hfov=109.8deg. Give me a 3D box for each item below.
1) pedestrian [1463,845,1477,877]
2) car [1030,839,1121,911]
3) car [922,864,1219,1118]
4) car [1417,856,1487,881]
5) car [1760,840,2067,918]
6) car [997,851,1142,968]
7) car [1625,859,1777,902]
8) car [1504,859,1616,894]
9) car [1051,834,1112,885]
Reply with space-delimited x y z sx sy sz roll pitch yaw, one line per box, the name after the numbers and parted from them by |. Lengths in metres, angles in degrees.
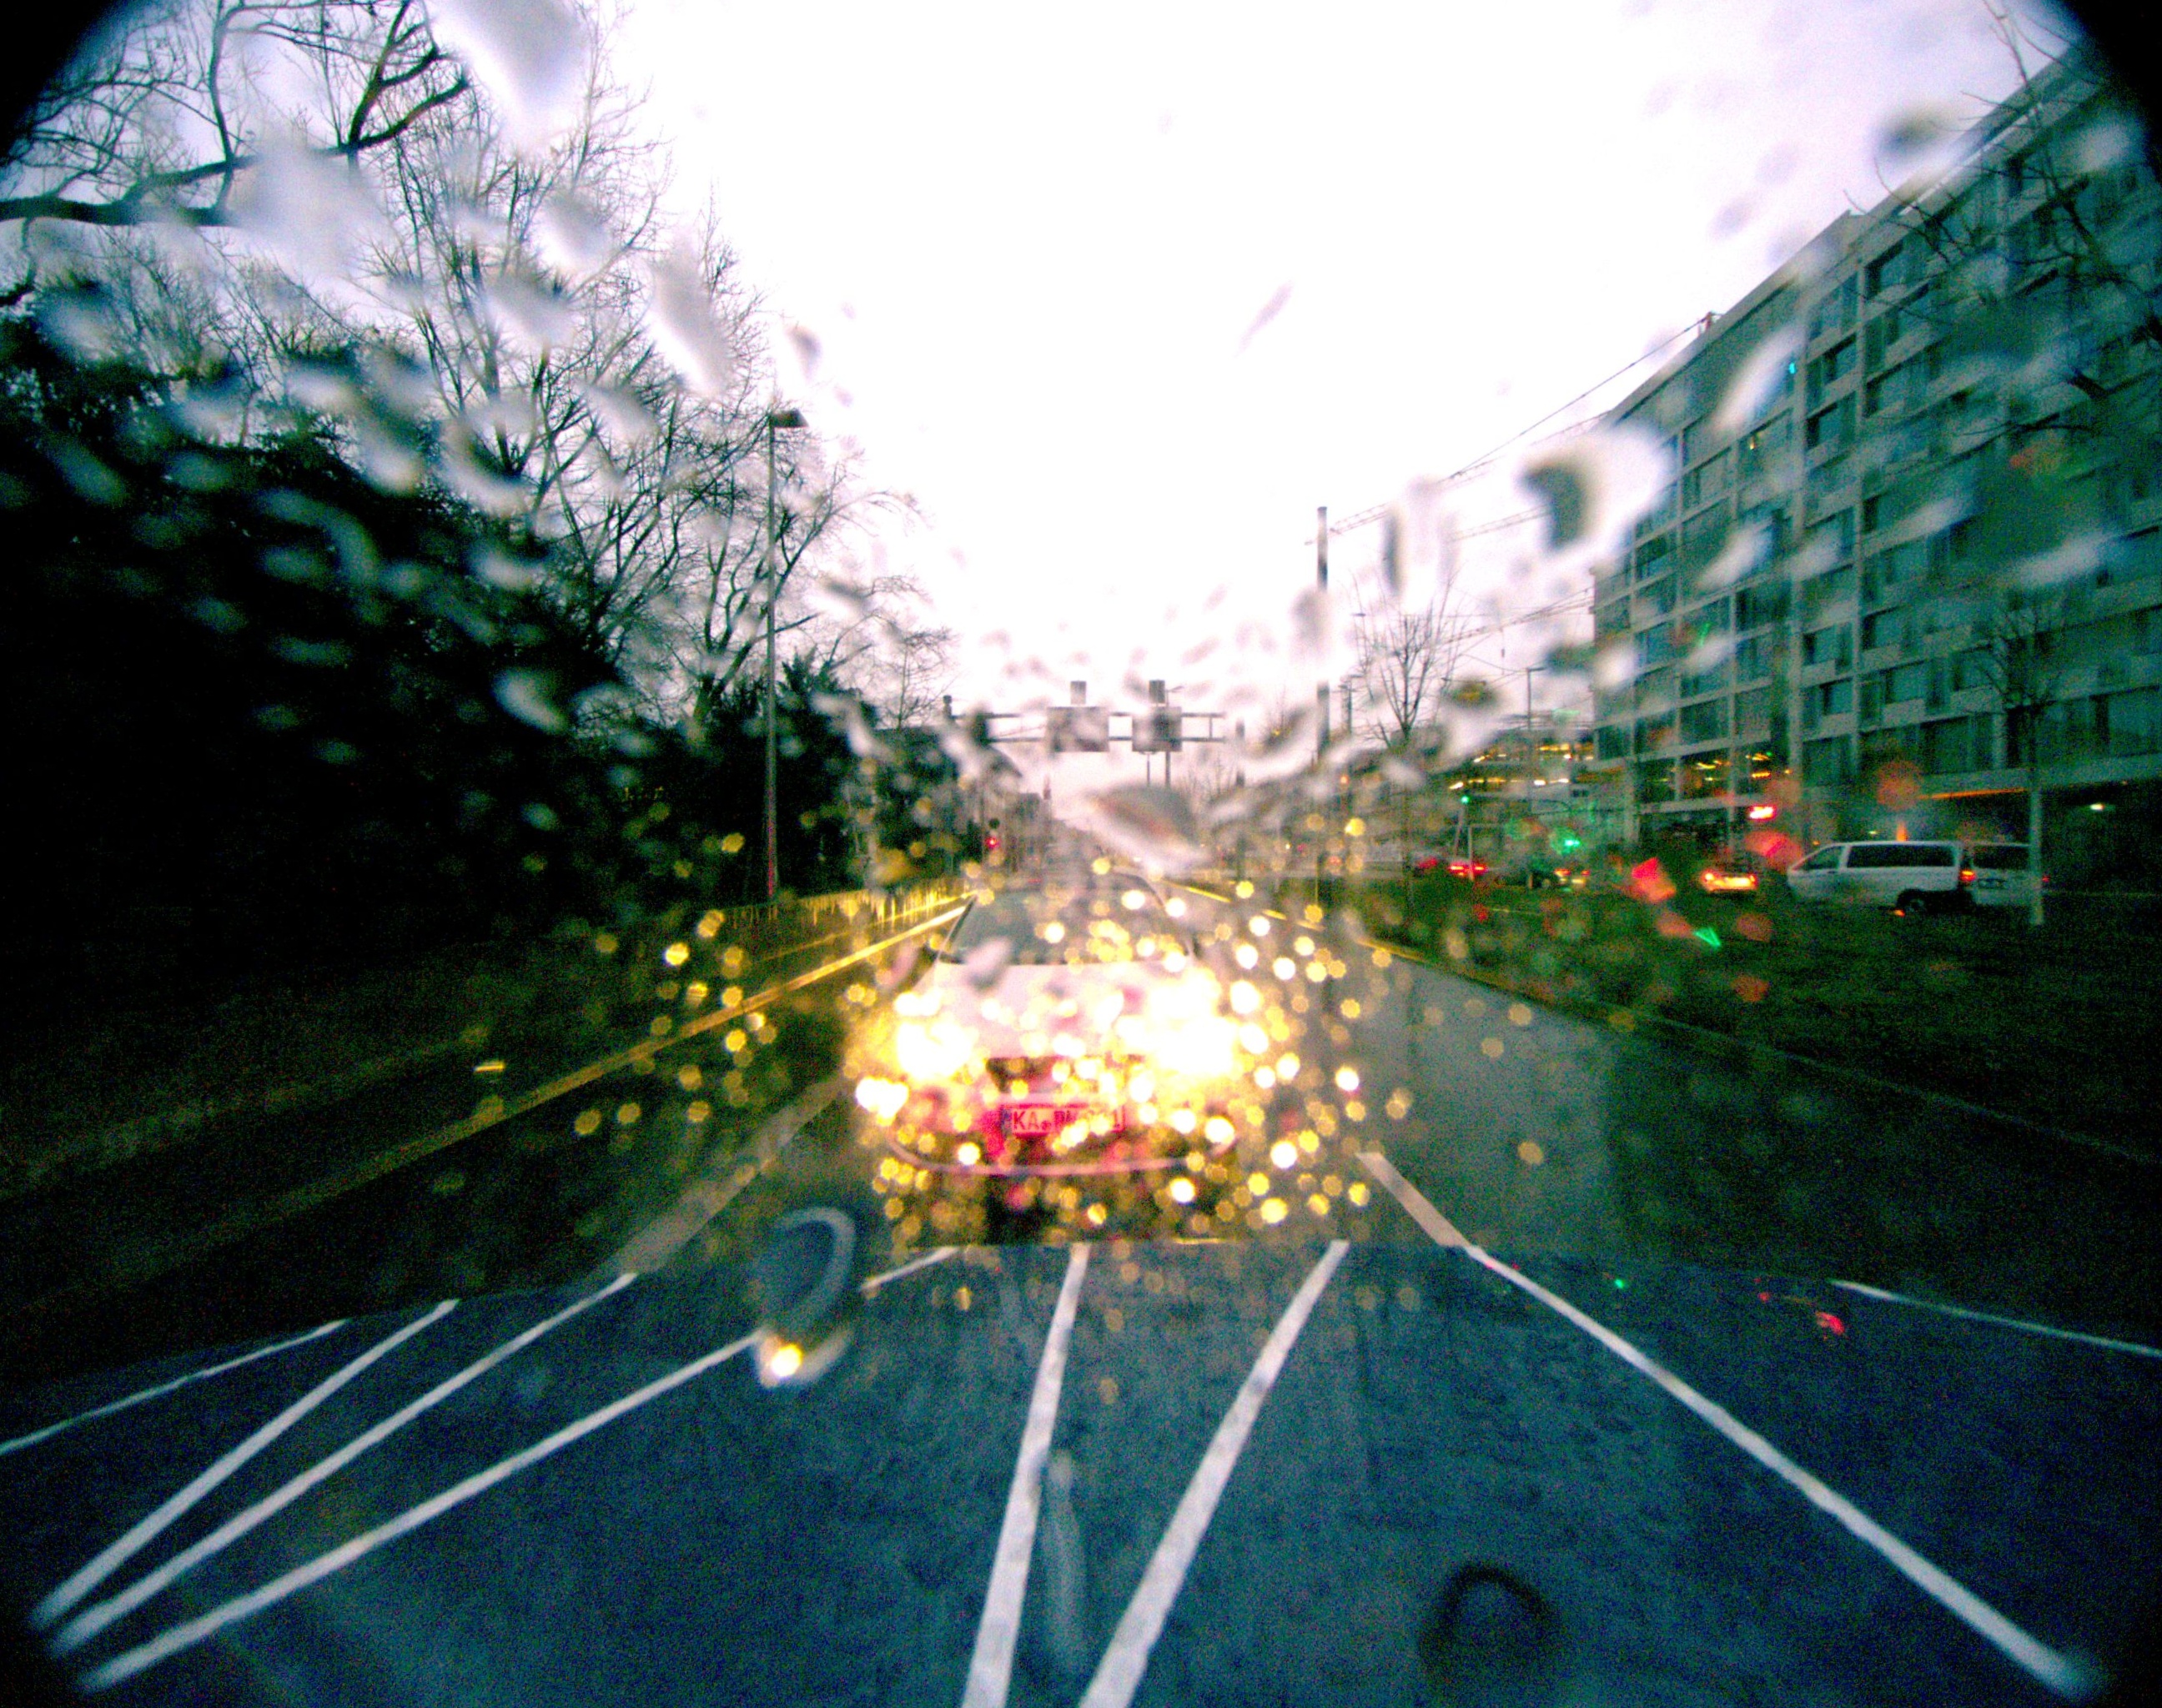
22.616 0.414 44.183 0.708 1.794 0.771 -2 1 26 | pedestrian
-0.101 0.481 20.051 2.073 1.618 4.268 -2 1 1 | car
-0.037 0.903 6.913 1.886 1.552 4.171 0 0 1 | car
20.173 0.758 41.494 1.816 1.267 3.999 0 0 -1 | car
20.015 0.534 18.741 2.086 1.659 5.043 0 0 1 | car
-0.215 0.805 13.270 2.073 1.618 4.267 -2 1 -1 | car
20.384 0.825 25.234 1.816 1.300 4.000 0 0 1 | car
20.314 0.912 32.479 2.111 1.392 4.257 0 0 -1 | car
0.038 0.173 27.503 1.998 1.618 4.268 -2 0 0 | car
